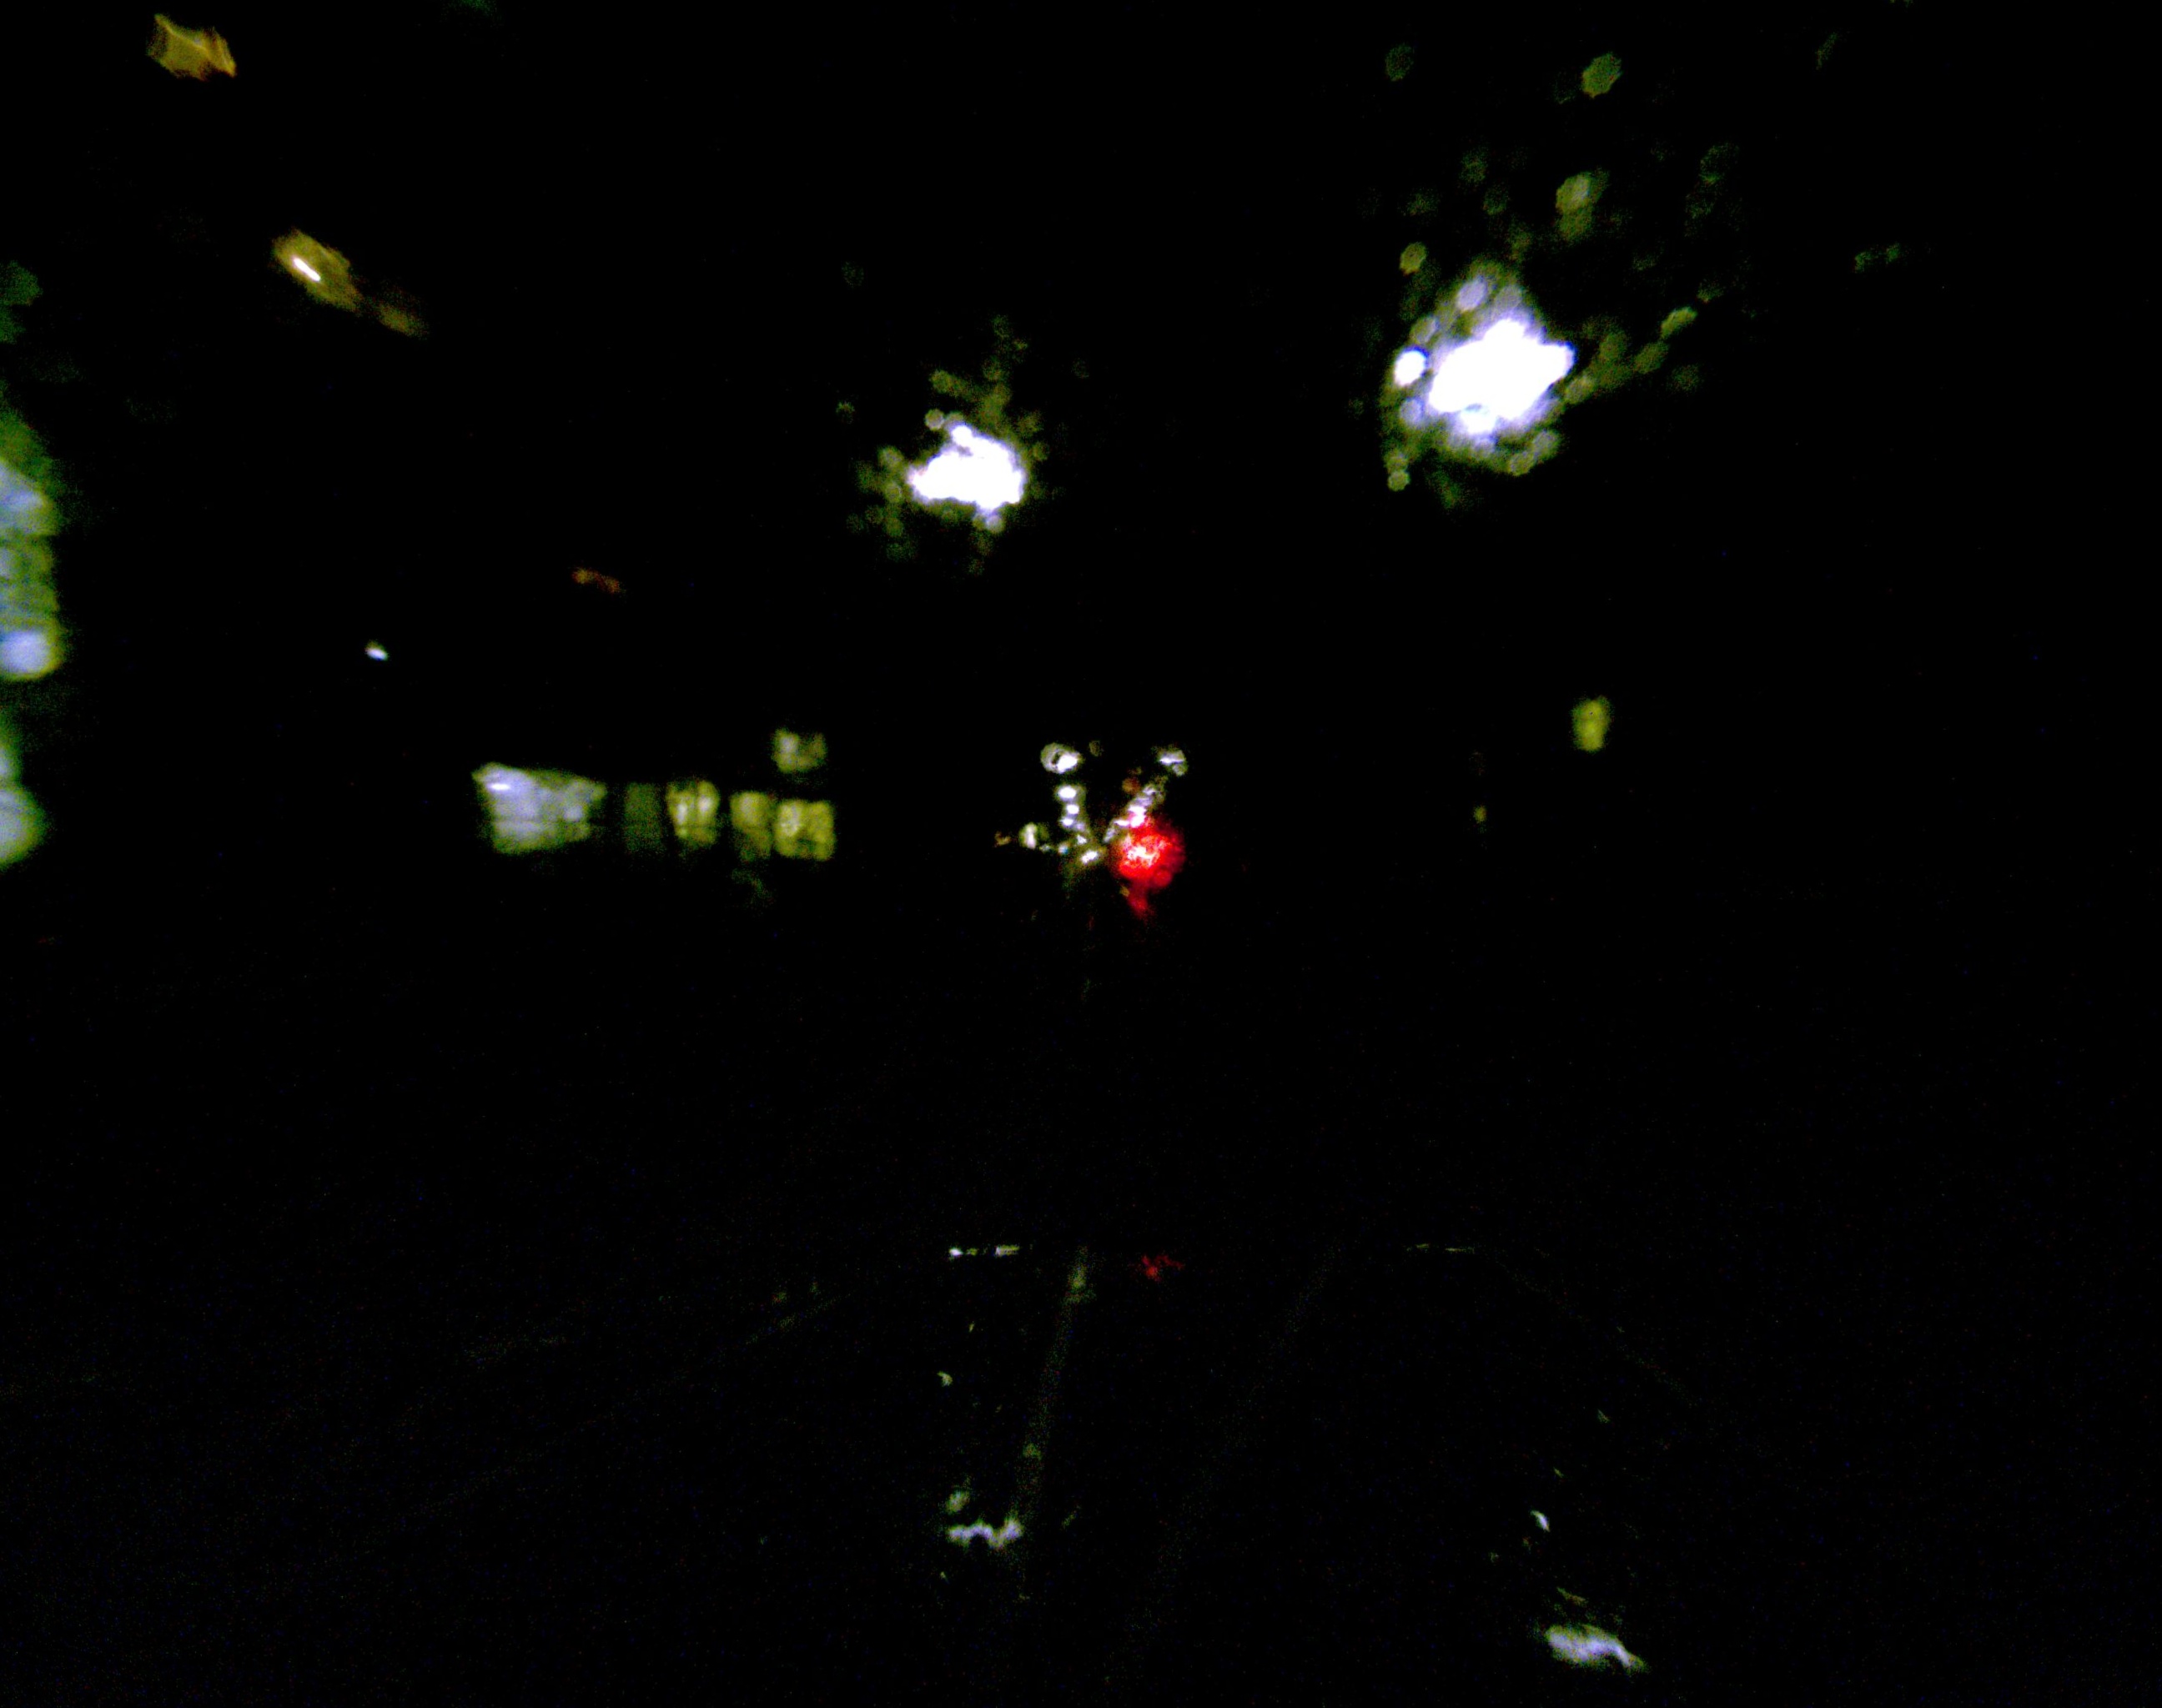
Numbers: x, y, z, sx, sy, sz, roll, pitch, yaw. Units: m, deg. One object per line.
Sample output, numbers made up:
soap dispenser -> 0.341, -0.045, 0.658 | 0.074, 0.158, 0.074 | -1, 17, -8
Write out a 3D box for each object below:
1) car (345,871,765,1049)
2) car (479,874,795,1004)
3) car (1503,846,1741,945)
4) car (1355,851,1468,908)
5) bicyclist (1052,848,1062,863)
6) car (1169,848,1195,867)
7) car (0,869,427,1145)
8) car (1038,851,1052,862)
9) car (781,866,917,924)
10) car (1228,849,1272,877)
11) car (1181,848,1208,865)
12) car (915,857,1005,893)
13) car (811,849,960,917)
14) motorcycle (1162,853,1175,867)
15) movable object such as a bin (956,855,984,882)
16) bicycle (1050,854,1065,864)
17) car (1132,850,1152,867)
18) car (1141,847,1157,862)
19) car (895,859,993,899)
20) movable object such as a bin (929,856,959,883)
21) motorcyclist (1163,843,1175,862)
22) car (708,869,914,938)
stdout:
car -> -6.257, 1.088, 9.392 | 3.896, 1.525, 1.817 | -3, 1, -40
car -> -6.803, 1.177, 11.893 | 3.862, 1.425, 1.816 | -4, 1, -44
car -> 9.594, 0.697, 13.874 | 1.645, 1.498, 3.619 | -3, -1, -1
car -> 9.666, 0.694, 22.545 | 1.614, 1.420, 3.807 | -3, 1, -1
bicyclist -> -2.667, 0.148, 84.088 | 0.571, 1.539, 0.817 | -2, 2, 40
car -> 10.942, 0.364, 82.874 | 1.998, 1.815, 5.309 | -4, 0, 0
car -> -7.077, 1.004, 5.171 | 1.699, 1.525, 3.759 | -2, 1, 44
car -> -5.092, 0.298, 107.824 | 1.649, 1.433, 4.055 | 2, 0, 0
car -> -6.621, 1.119, 21.743 | 3.342, 1.377, 1.627 | -3, 1, -34
car -> 9.639, 0.479, 43.631 | 1.672, 1.379, 4.000 | -4, 1, 2
car -> 10.628, 0.198, 71.425 | 1.770, 1.398, 4.140 | -4, 1, -1
car -> -5.677, 0.962, 35.898 | 1.802, 1.480, 3.863 | -1, 1, 43
car -> -6.319, 0.892, 24.830 | 4.181, 1.828, 1.958 | -4, 1, -40
motorcycle -> 8.478, 0.586, 73.457 | 0.817, 1.223, 2.003 | 4, 2, 18
movable object such as a bin -> -6.179, 0.789, 42.297 | 1.353, 1.399, 1.025 | -2, 1, -19
bicycle -> -2.627, 0.553, 84.124 | 0.571, 0.964, 1.783 | -2, 2, 40
car -> 6.531, 0.476, 81.477 | 1.943, 1.805, 4.385 | 0, 0, 2
car -> 8.666, 0.050, 96.061 | 1.930, 1.868, 4.639 | 0, 0, 6
car -> -5.824, 1.050, 32.598 | 3.842, 1.430, 1.596 | -4, 1, -43
movable object such as a bin -> -7.540, 0.848, 41.808 | 1.413, 1.399, 1.025 | -2, 1, -19
motorcyclist -> 8.500, -0.163, 73.355 | 0.919, 1.730, 1.137 | 4, 2, 18
car -> -6.481, 1.121, 18.678 | 1.687, 1.396, 4.467 | -2, -1, 43
